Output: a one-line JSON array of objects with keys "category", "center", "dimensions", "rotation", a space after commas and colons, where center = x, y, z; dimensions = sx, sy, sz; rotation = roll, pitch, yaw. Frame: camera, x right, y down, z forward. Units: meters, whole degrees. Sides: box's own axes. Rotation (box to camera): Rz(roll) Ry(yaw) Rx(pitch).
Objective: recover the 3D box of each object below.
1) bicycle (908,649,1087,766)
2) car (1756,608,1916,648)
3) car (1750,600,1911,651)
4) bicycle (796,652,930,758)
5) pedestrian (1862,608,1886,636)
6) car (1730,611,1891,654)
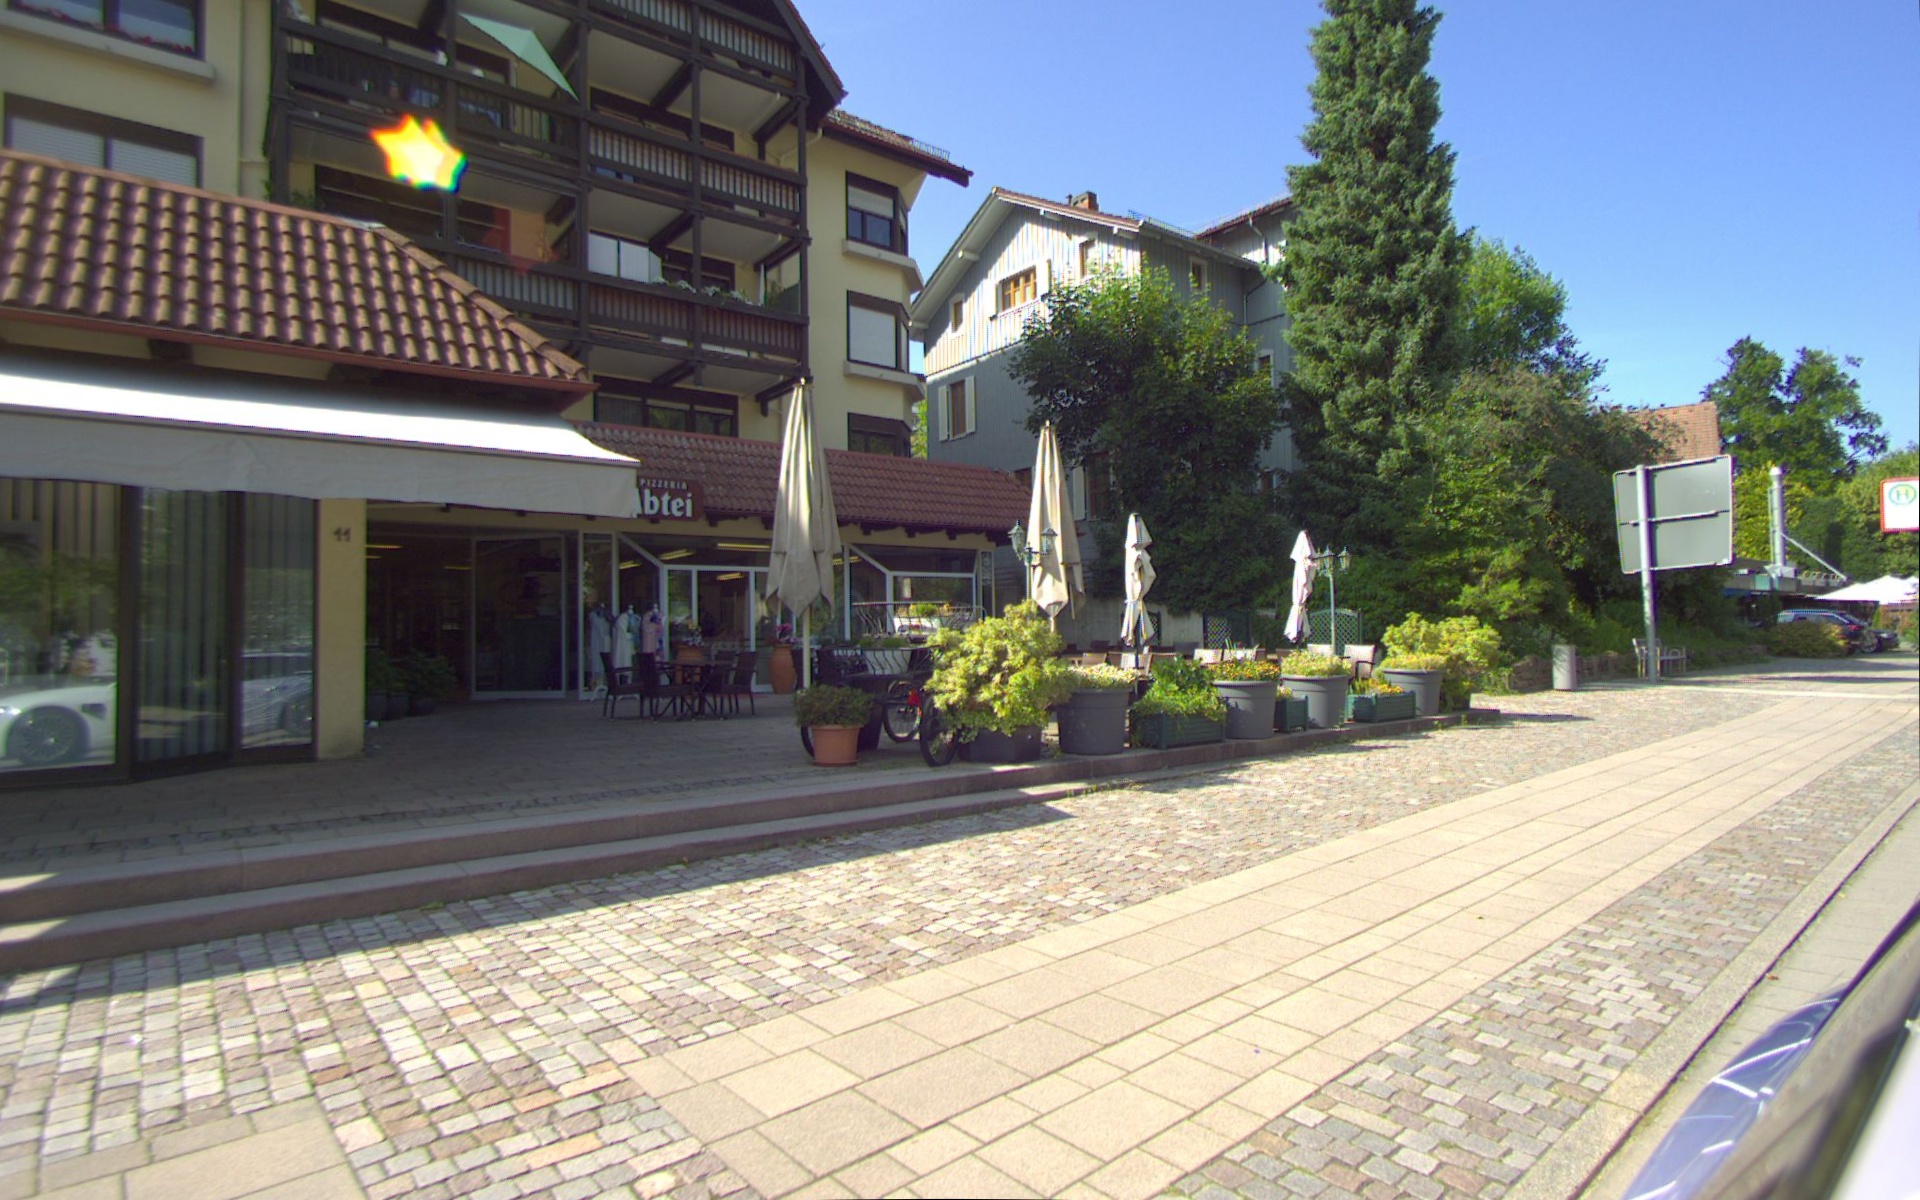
[{"category": "bicycle", "center": [0.345, 0.889, 8.708], "dimensions": [1.585, 0.875, 0.397], "rotation": [0, -2, -33]}, {"category": "car", "center": [32.858, 1.032, 38.081], "dimensions": [1.677, 1.396, 4.273], "rotation": [0, -1, -37]}, {"category": "car", "center": [29.086, 0.857, 33.893], "dimensions": [1.718, 1.600, 3.880], "rotation": [0, -2, -41]}, {"category": "bicycle", "center": [-0.871, 0.942, 9.466], "dimensions": [0.394, 0.853, 1.599], "rotation": [-3, -2, 29]}, {"category": "pedestrian", "center": [43.473, 1.029, 48.120], "dimensions": [0.629, 1.321, 0.577], "rotation": [0, -1, 16]}, {"category": "car", "center": [30.516, 1.165, 36.412], "dimensions": [1.716, 1.433, 4.120], "rotation": [0, -1, -37]}]
